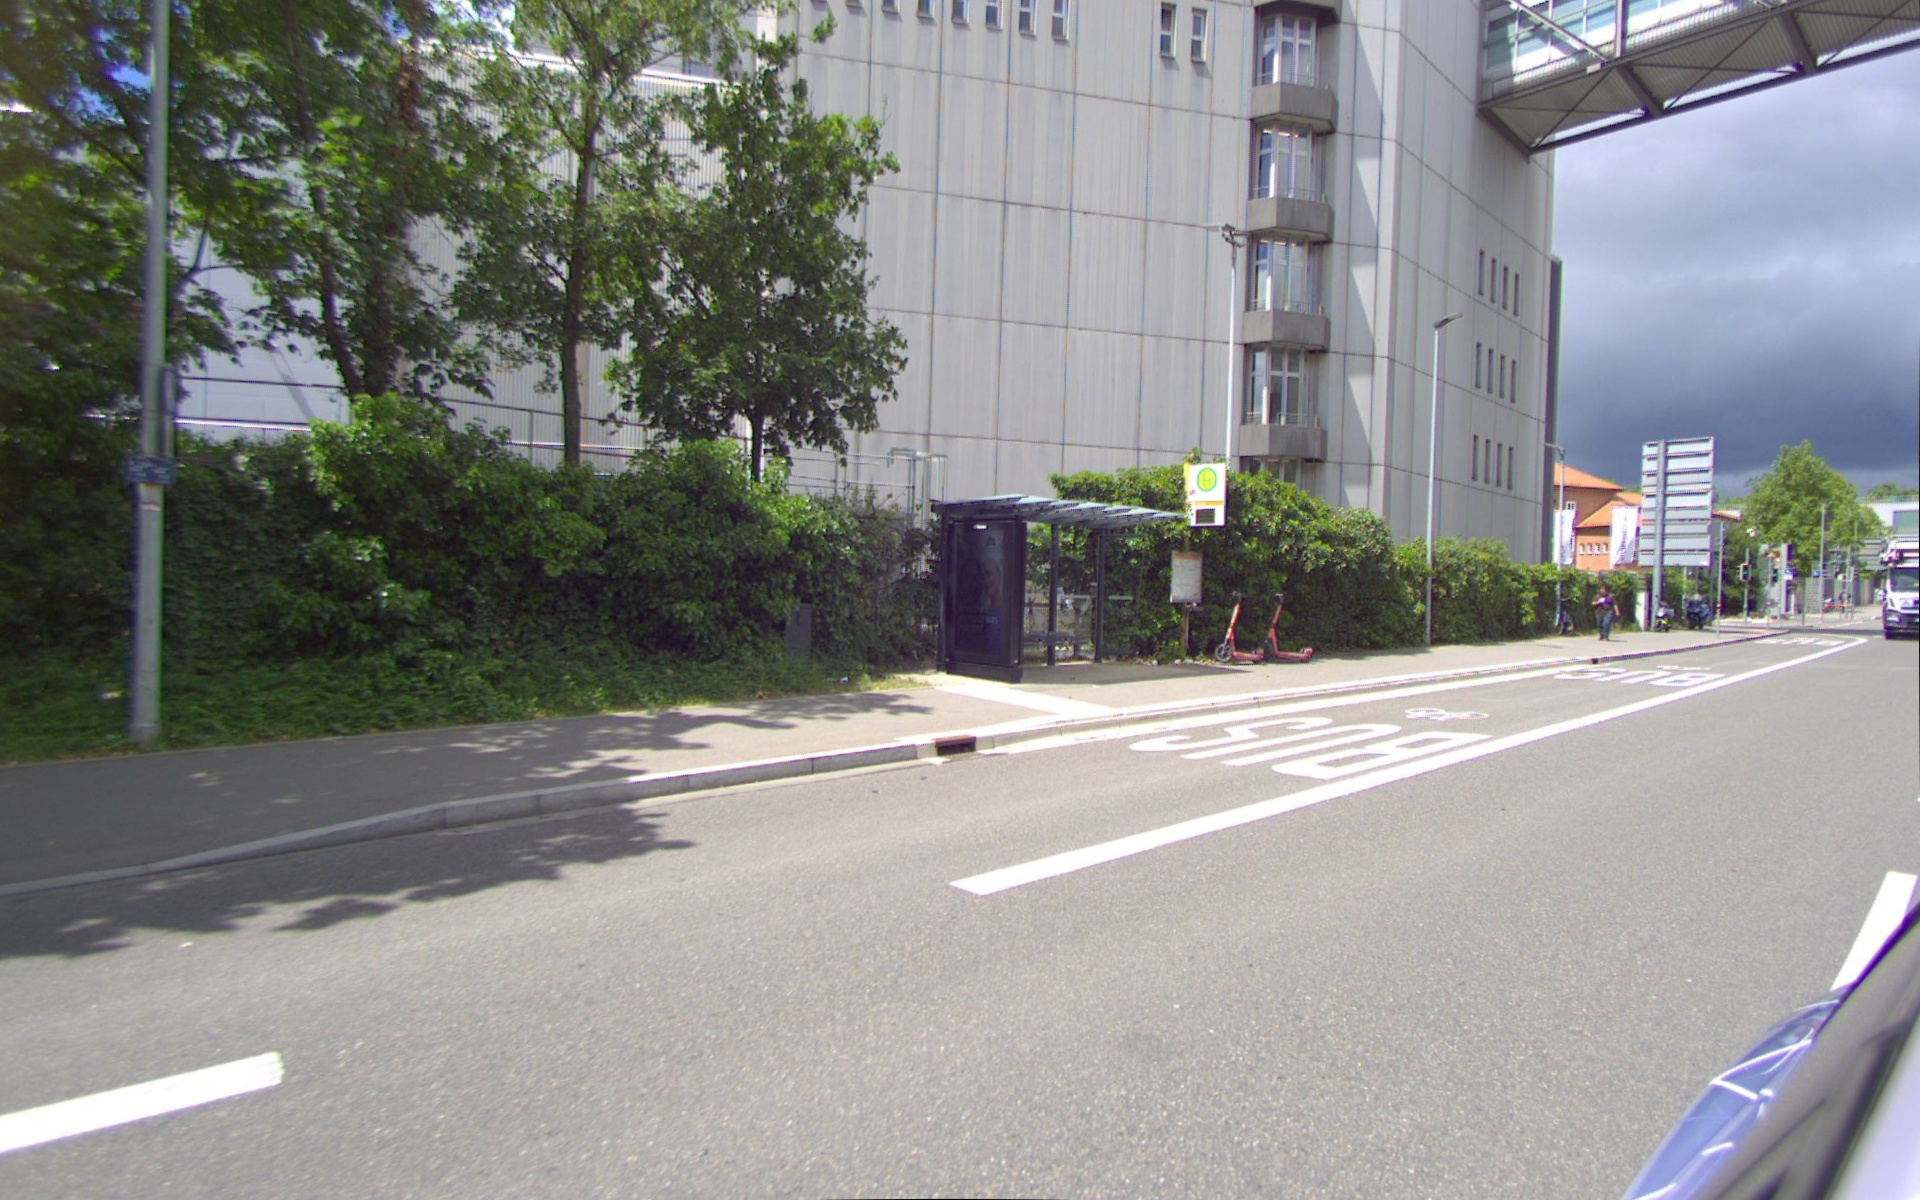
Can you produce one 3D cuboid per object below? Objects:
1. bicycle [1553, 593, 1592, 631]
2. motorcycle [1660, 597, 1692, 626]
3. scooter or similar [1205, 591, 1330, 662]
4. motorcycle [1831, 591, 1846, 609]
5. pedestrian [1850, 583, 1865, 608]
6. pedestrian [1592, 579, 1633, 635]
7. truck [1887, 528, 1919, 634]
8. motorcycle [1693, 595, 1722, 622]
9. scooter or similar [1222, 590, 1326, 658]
[{"bbox_3d":[19.893,0.369,32.826,2.427,1.195,0.443,-1,0,-43],"label":"bicycle"},{"bbox_3d":[27.955,0.428,39.506,2.002,1.080,0.591,0,2,-43],"label":"motorcycle"},{"bbox_3d":[5.363,0.466,17.641,2.083,1.177,0.544,1,1,-15],"label":"scooter or similar"},{"bbox_3d":[63.763,0.007,73.454,2.139,1.241,0.570,-1,3,-43],"label":"motorcycle"},{"bbox_3d":[65.120,-0.340,73.417,0.998,1.788,0.728,-1,0,-43],"label":"pedestrian"},{"bbox_3d":[20.290,0.204,31.449,0.981,1.665,0.810,-1,3,-44],"label":"pedestrian"},{"bbox_3d":[39.763,-0.771,40.708,10.558,3.934,2.709,-1,1,-42],"label":"truck"},{"bbox_3d":[32.121,0.347,43.497,2.002,1.080,0.591,0,3,-43],"label":"motorcycle"},{"bbox_3d":[5.704,0.440,18.389,1.754,1.177,0.544,1,1,-15],"label":"scooter or similar"}]
